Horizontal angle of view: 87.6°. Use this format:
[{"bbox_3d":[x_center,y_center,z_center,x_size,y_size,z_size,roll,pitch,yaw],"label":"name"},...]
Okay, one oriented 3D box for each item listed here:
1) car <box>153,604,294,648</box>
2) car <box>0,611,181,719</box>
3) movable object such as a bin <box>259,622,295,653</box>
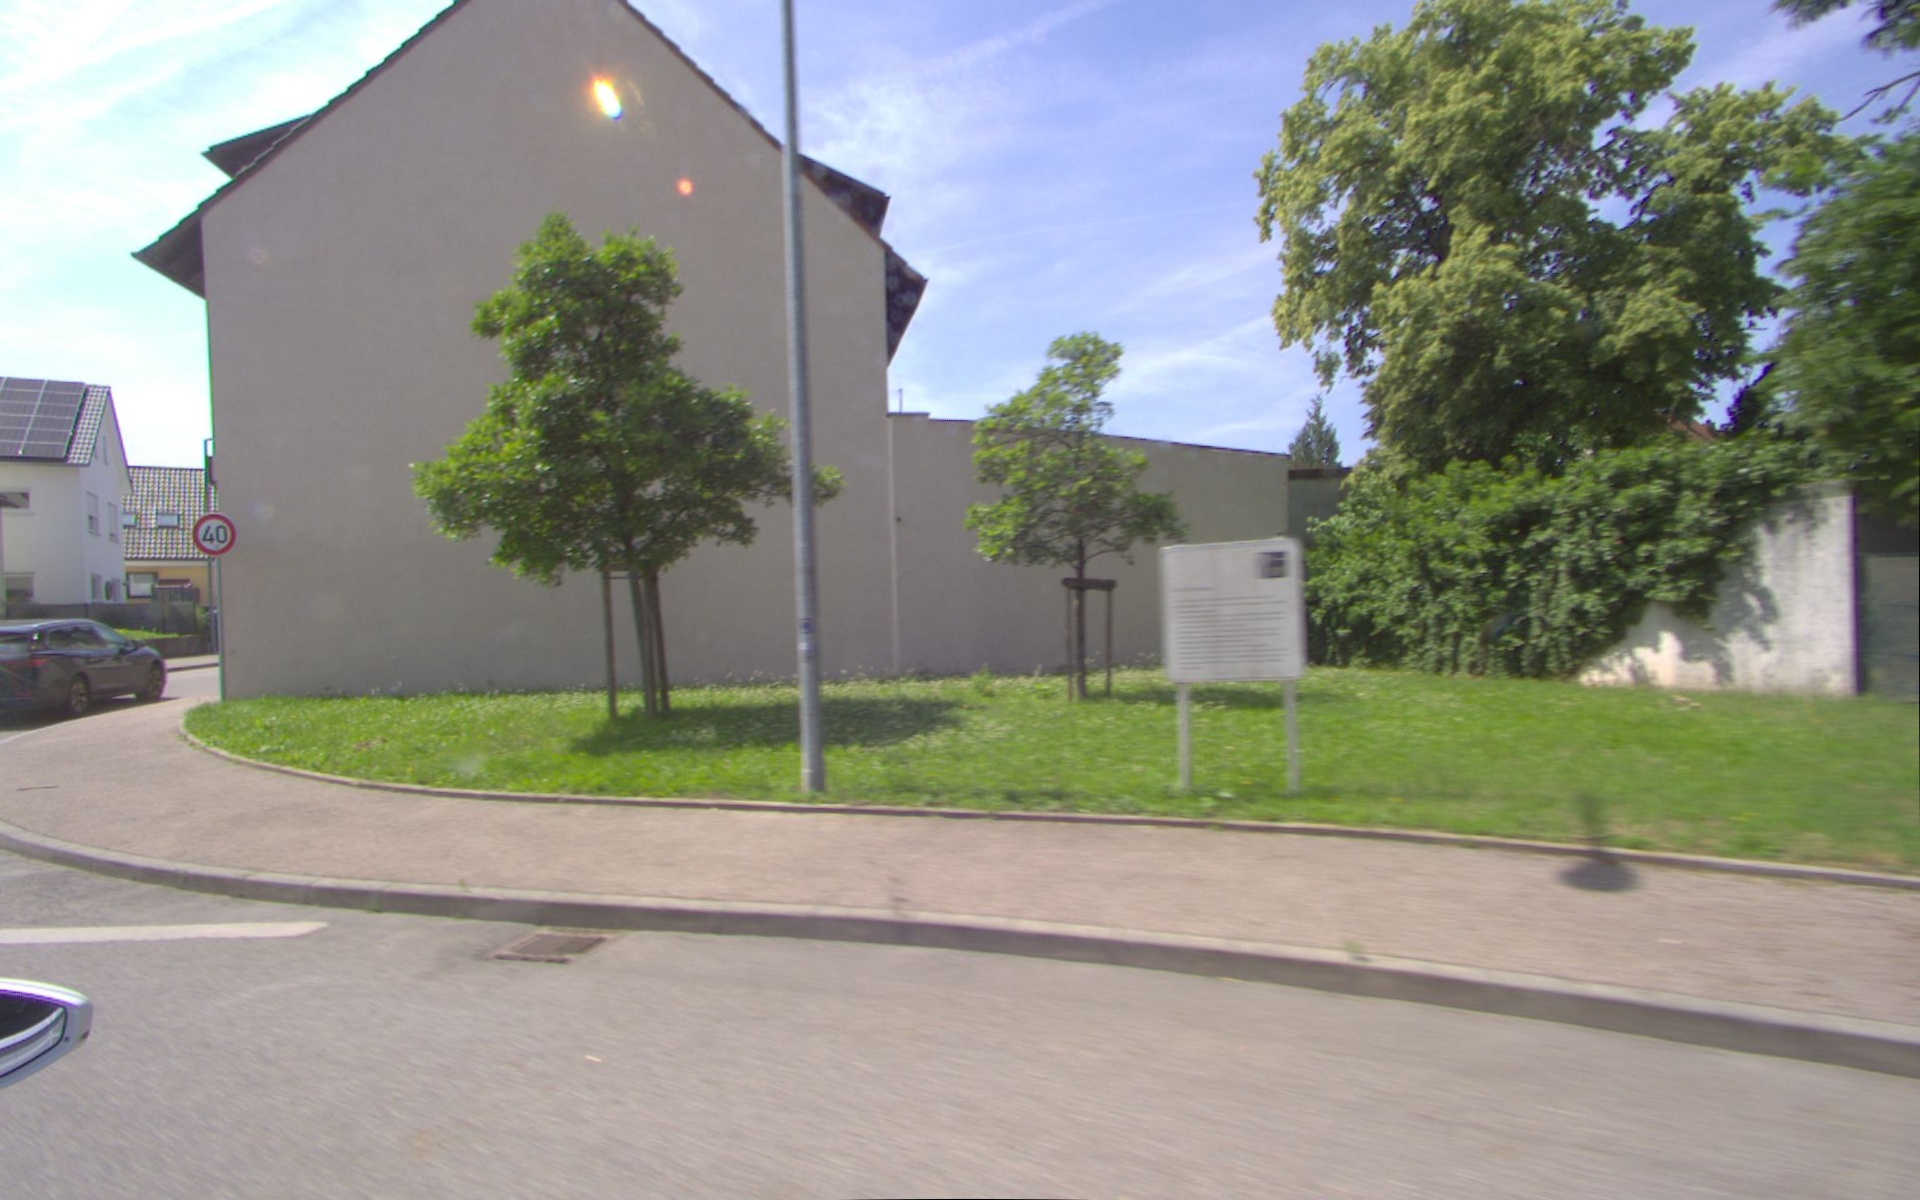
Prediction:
[{"bbox_3d":[-30.258,1.040,41.308,4.346,1.644,1.992,-1,0,-26],"label":"car"},{"bbox_3d":[-14.354,0.927,15.847,1.816,1.439,4.670,-1,0,-20],"label":"car"},{"bbox_3d":[-24.864,1.364,36.477,0.813,1.091,0.817,-1,1,-12],"label":"movable object such as a bin"}]
